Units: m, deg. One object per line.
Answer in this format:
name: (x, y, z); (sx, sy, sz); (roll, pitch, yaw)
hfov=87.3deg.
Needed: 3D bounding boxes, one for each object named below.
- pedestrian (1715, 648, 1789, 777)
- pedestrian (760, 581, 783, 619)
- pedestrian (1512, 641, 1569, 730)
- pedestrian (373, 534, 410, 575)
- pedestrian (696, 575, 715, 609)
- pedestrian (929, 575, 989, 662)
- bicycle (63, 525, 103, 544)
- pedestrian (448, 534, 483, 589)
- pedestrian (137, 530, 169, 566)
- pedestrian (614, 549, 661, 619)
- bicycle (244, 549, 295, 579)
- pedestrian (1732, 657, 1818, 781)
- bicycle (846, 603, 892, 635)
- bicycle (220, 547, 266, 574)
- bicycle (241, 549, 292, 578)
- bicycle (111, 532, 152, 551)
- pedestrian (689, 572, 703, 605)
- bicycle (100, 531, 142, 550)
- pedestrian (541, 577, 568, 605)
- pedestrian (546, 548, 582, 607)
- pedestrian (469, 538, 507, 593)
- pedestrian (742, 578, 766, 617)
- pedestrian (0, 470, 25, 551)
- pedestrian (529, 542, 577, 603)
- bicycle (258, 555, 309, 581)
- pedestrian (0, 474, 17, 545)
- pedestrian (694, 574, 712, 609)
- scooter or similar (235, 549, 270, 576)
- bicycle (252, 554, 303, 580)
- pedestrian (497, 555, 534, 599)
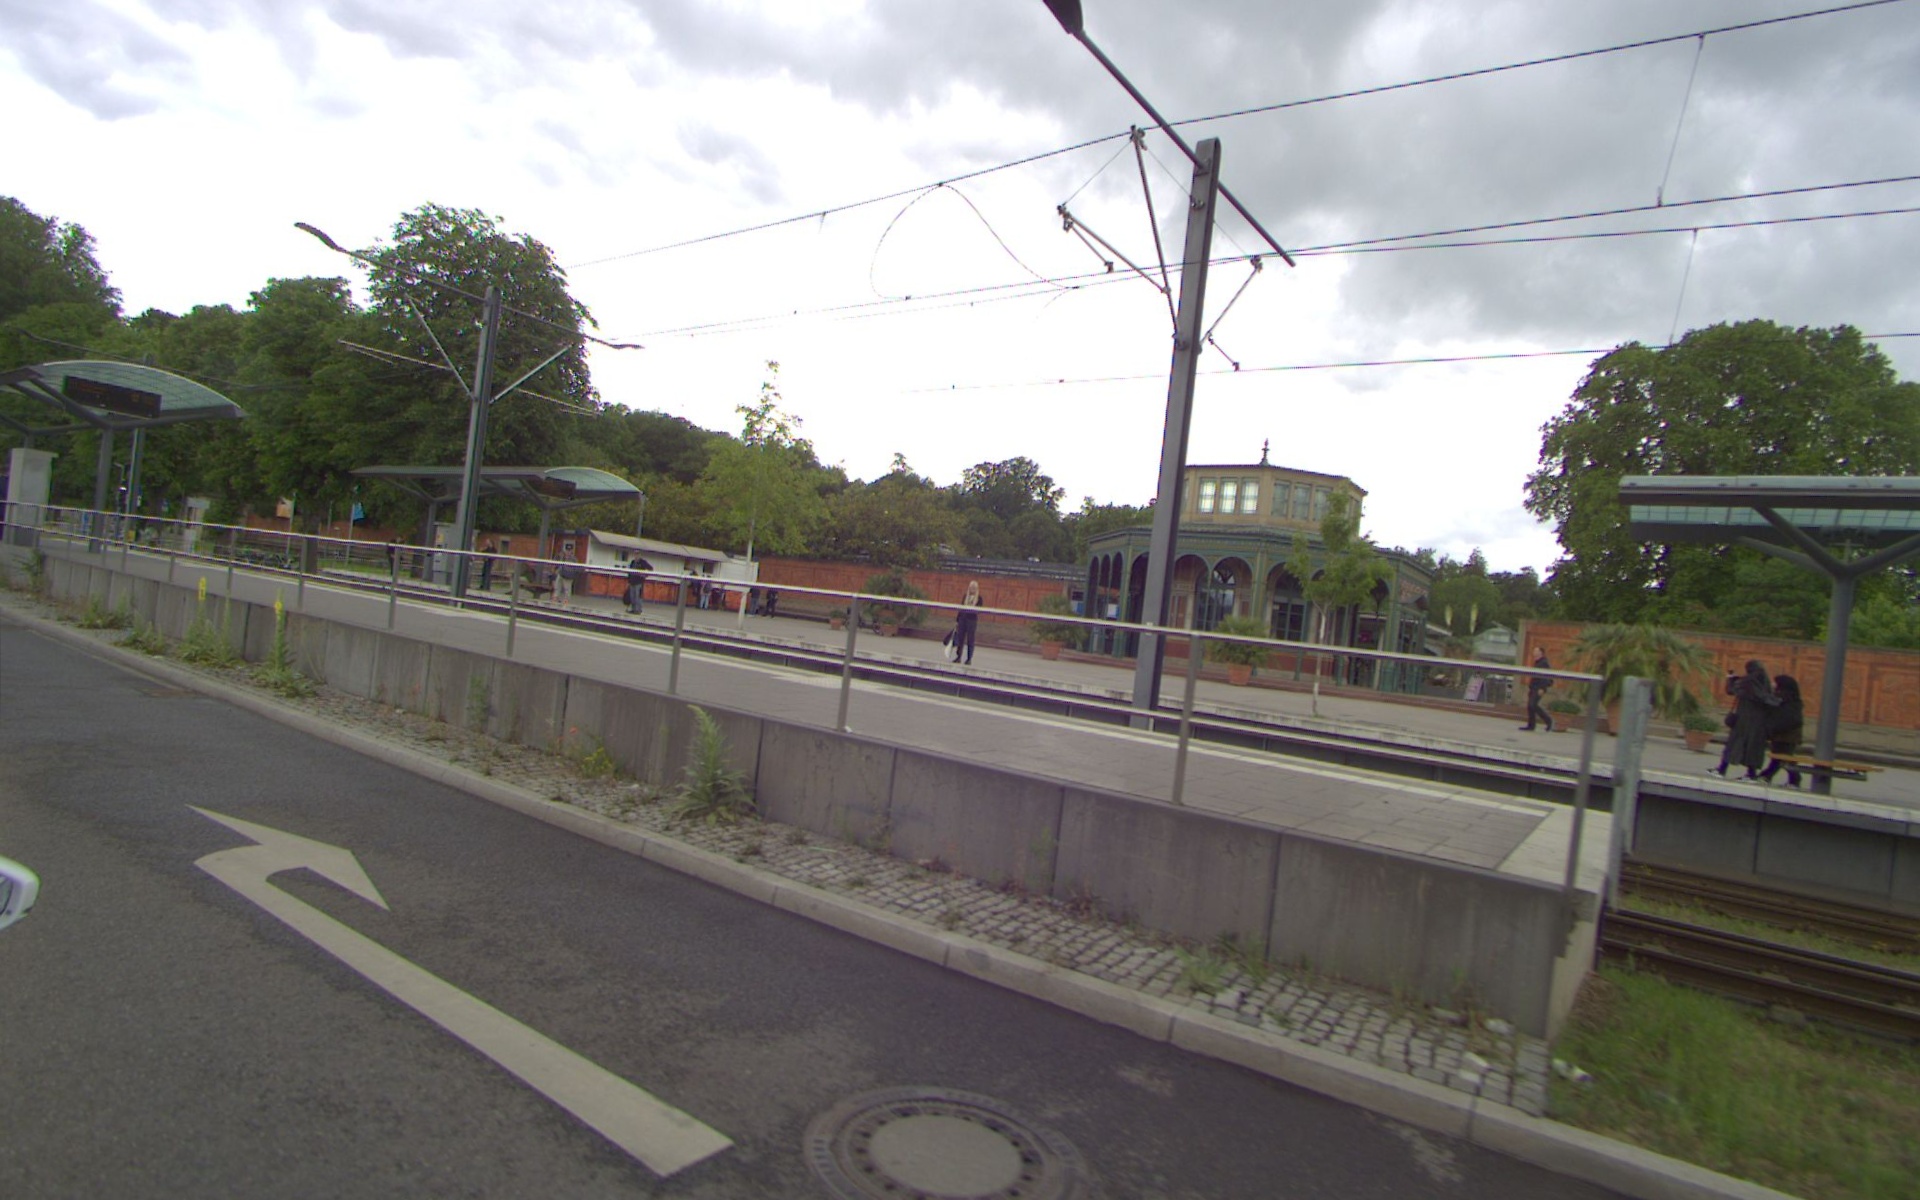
pedestrian: (10.891, 1.539, 13.834); (0.485, 1.679, 0.620); (9, -3, -45)
pedestrian: (-8.497, 0.023, 45.330); (0.612, 1.600, 0.586); (6, -2, 24)
pedestrian: (13.111, 1.929, 22.723); (0.936, 1.858, 0.549); (6, -2, 30)
pedestrian: (-20.414, -1.642, 36.101); (0.953, 1.338, 0.674); (6, -3, 36)
pedestrian: (-11.663, -0.369, 46.145); (0.453, 1.503, 0.485); (5, -3, 39)
pedestrian: (-0.020, 0.386, 21.239); (0.853, 1.706, 0.633); (6, -3, 37)
bicycle: (-59.598, -4.452, 68.388); (0.523, 0.987, 1.912); (6, 0, 37)
pedestrian: (-16.021, -1.244, 32.591); (0.665, 1.695, 0.545); (6, -3, 33)
pedestrian: (-39.939, -2.580, 49.803); (0.763, 1.629, 0.835); (6, 0, 15)
pedestrian: (-9.133, -0.465, 28.467); (0.936, 1.858, 0.633); (5, -3, 38)
bicycle: (-33.756, -1.742, 49.199); (0.524, 1.152, 1.875); (6, -4, 37)
pedestrian: (11.525, 1.680, 14.221); (0.738, 1.618, 0.762); (9, -3, -45)
bicycle: (-3.719, 0.781, 41.182); (1.683, 1.073, 0.565); (7, -2, 6)
bicycle: (-36.393, -2.005, 51.091); (0.476, 1.045, 1.765); (6, -4, 37)
bicycle: (-34.388, -1.792, 49.913); (0.524, 1.152, 1.875); (6, -4, 37)
bicycle: (-52.265, -3.698, 63.477); (0.523, 0.906, 1.912); (6, 0, 37)
pedestrian: (-12.422, -0.533, 47.290); (0.311, 1.503, 0.341); (5, -3, 39)
bicycle: (-53.291, -3.768, 63.931); (0.523, 0.987, 1.912); (6, 0, 37)
pedestrian: (-12.279, -0.276, 30.439); (0.560, 0.749, 0.419); (10, -3, -44)
pedestrian: (-11.660, -0.662, 29.619); (0.666, 1.638, 0.524); (6, -3, 38)
pedestrian: (-15.543, -1.130, 33.109); (0.666, 1.695, 0.675); (6, -3, 34)
pedestrian: (-9.205, -0.111, 44.943); (0.611, 1.600, 0.657); (6, -2, 23)
pedestrian: (-21.320, -2.027, 22.148); (0.720, 1.719, 0.771); (8, -1, 38)
pedestrian: (-12.415, -0.829, 30.689); (0.748, 1.695, 0.863); (6, -3, 27)
bicycle: (-32.489, -1.534, 48.344); (0.524, 0.974, 1.875); (6, -4, 37)
pedestrian: (-21.913, -2.097, 22.623); (0.763, 1.571, 0.751); (8, -1, 38)
pedestrian: (-11.912, -0.397, 46.640); (0.453, 1.552, 0.485); (5, -3, 39)
scooter or similar: (-35.555, -1.900, 50.574); (0.329, 1.152, 1.273); (5, -4, 44)
bicycle: (-33.070, -1.597, 48.757); (0.524, 0.974, 1.875); (6, -4, 37)
pedestrian: (-13.337, -0.678, 30.196); (0.666, 1.204, 0.658); (5, -3, 38)
